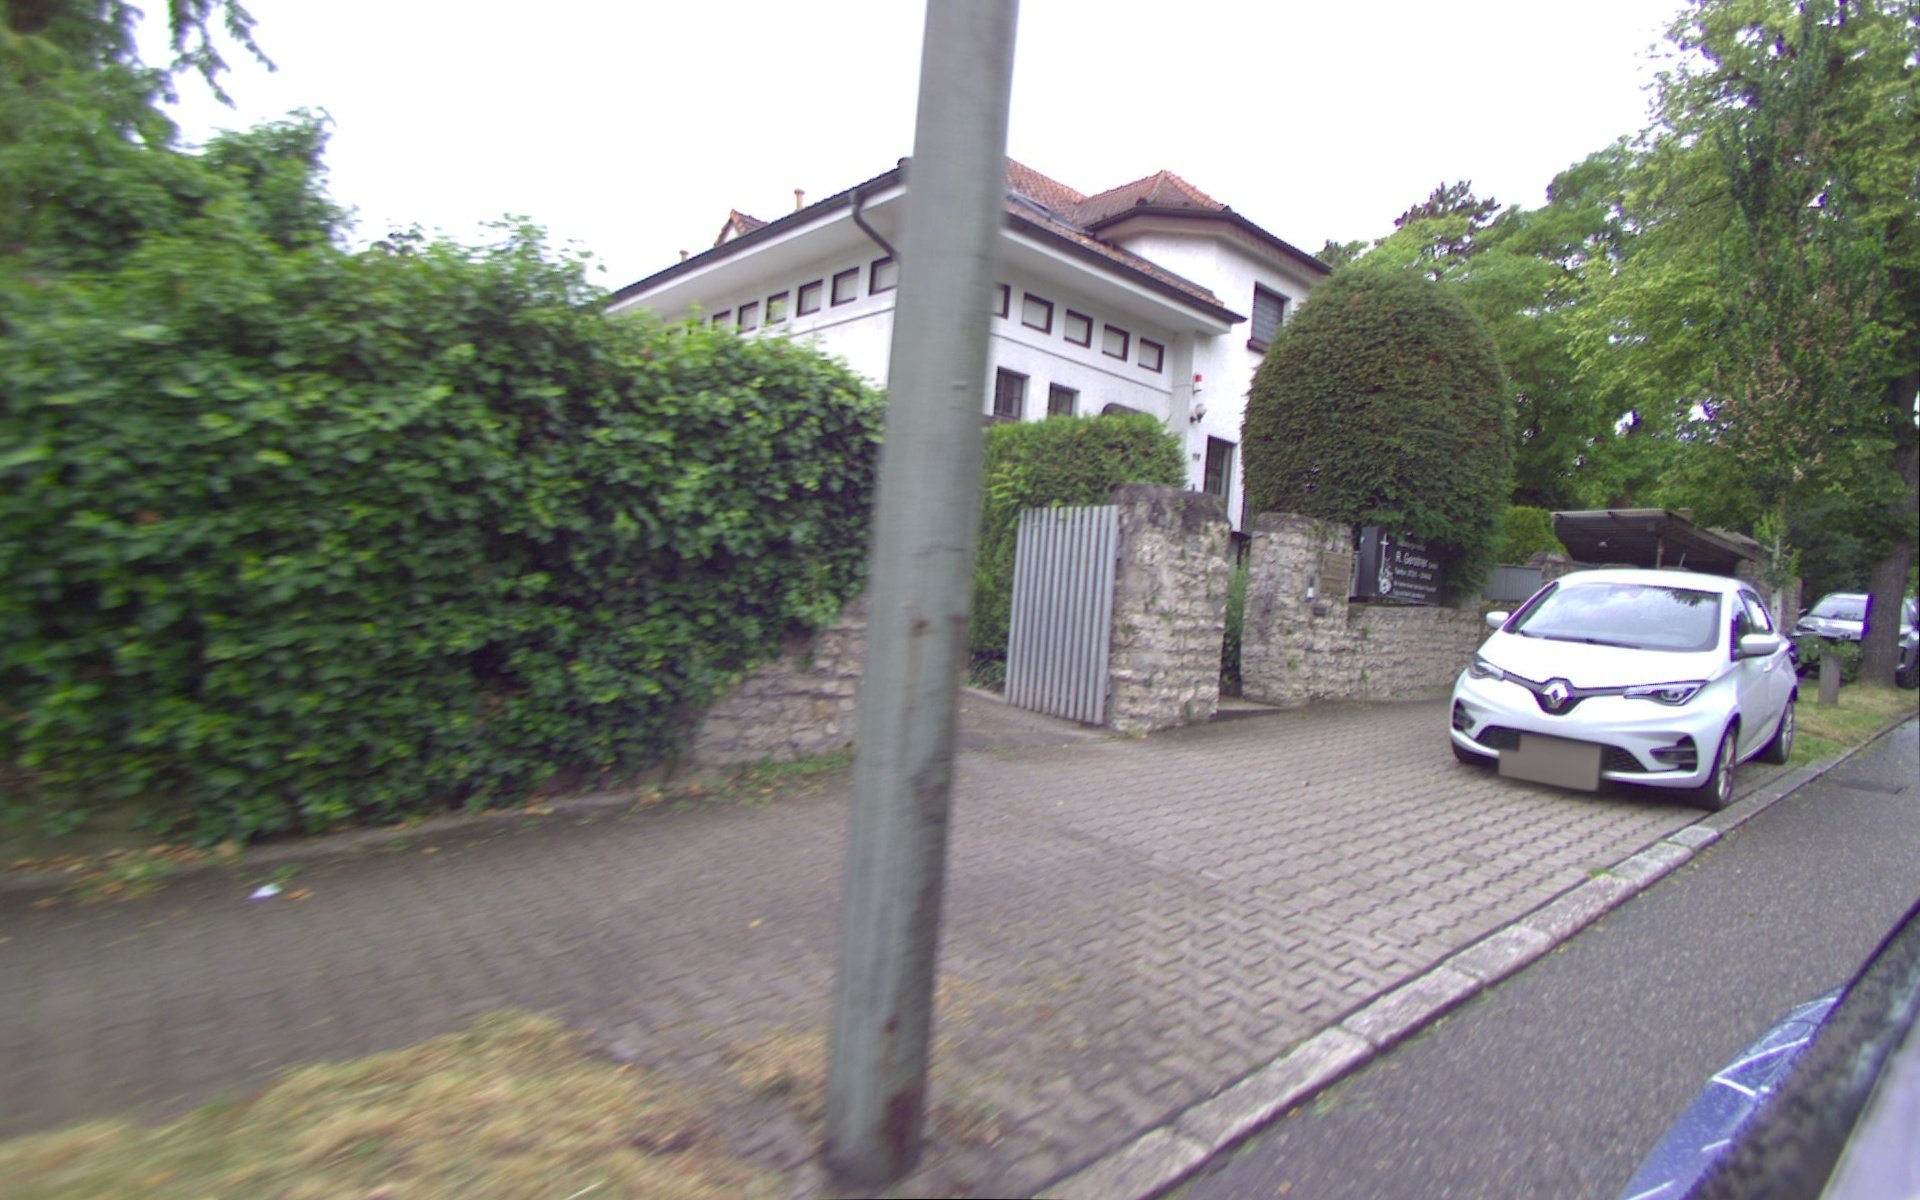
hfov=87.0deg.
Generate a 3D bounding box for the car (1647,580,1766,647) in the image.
[{"bbox_3d":[19.157,0.402,25.920,4.080,1.551,1.600,3,-3,-41],"label":"car"}]

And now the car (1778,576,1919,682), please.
[{"bbox_3d":[16.529,0.517,18.298,4.145,1.586,1.923,2,3,-41],"label":"car"}]

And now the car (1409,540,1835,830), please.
[{"bbox_3d":[5.359,0.463,7.991,3.932,1.649,1.828,0,5,-43],"label":"car"}]
